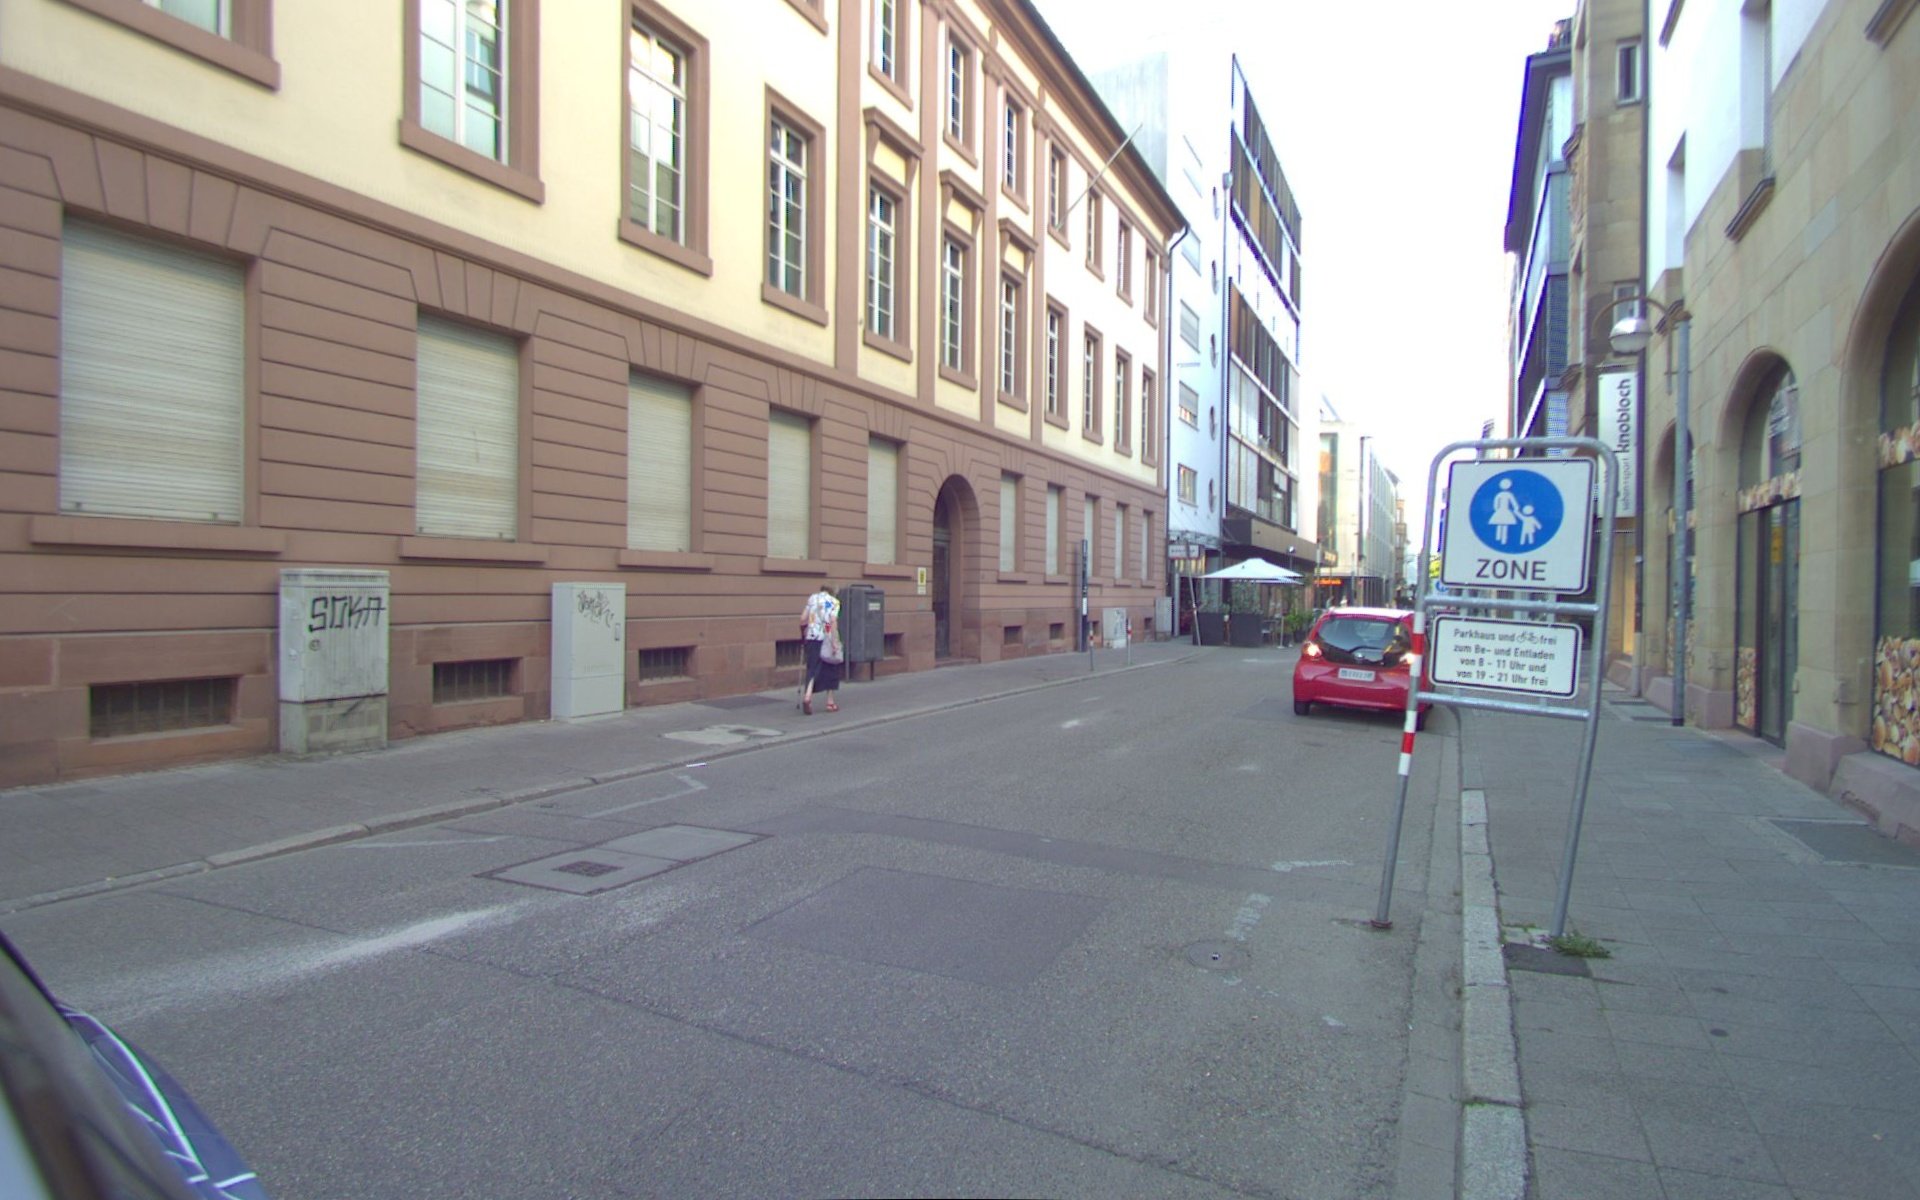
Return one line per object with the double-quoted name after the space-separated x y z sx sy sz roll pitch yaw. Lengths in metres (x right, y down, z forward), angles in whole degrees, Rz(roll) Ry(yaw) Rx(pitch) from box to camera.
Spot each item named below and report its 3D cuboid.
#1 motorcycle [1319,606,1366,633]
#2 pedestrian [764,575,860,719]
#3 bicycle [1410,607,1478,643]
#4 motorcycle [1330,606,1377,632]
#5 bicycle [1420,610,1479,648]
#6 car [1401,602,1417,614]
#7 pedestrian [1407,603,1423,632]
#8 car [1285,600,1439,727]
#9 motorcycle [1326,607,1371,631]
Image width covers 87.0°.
19.458 0.979 51.460 2.185 1.292 0.645 0 0 29 "motorcycle"
-1.814 0.556 12.473 0.807 1.684 0.923 0 -1 25 "pedestrian"
15.787 0.824 33.024 1.945 1.139 0.614 -2 -1 29 "bicycle"
20.252 0.983 52.104 2.185 1.292 0.645 0 0 29 "motorcycle"
15.322 0.908 31.671 1.601 1.127 0.614 -2 -1 28 "bicycle"
48.540 0.858 109.318 1.419 1.310 3.531 -2 -1 26 "car"
26.716 0.993 59.402 0.807 1.684 0.923 0 -1 25 "pedestrian"
5.588 0.763 13.871 1.631 1.452 3.127 2 1 27 "car"
20.665 0.999 53.817 2.185 1.292 0.645 0 0 29 "motorcycle"
